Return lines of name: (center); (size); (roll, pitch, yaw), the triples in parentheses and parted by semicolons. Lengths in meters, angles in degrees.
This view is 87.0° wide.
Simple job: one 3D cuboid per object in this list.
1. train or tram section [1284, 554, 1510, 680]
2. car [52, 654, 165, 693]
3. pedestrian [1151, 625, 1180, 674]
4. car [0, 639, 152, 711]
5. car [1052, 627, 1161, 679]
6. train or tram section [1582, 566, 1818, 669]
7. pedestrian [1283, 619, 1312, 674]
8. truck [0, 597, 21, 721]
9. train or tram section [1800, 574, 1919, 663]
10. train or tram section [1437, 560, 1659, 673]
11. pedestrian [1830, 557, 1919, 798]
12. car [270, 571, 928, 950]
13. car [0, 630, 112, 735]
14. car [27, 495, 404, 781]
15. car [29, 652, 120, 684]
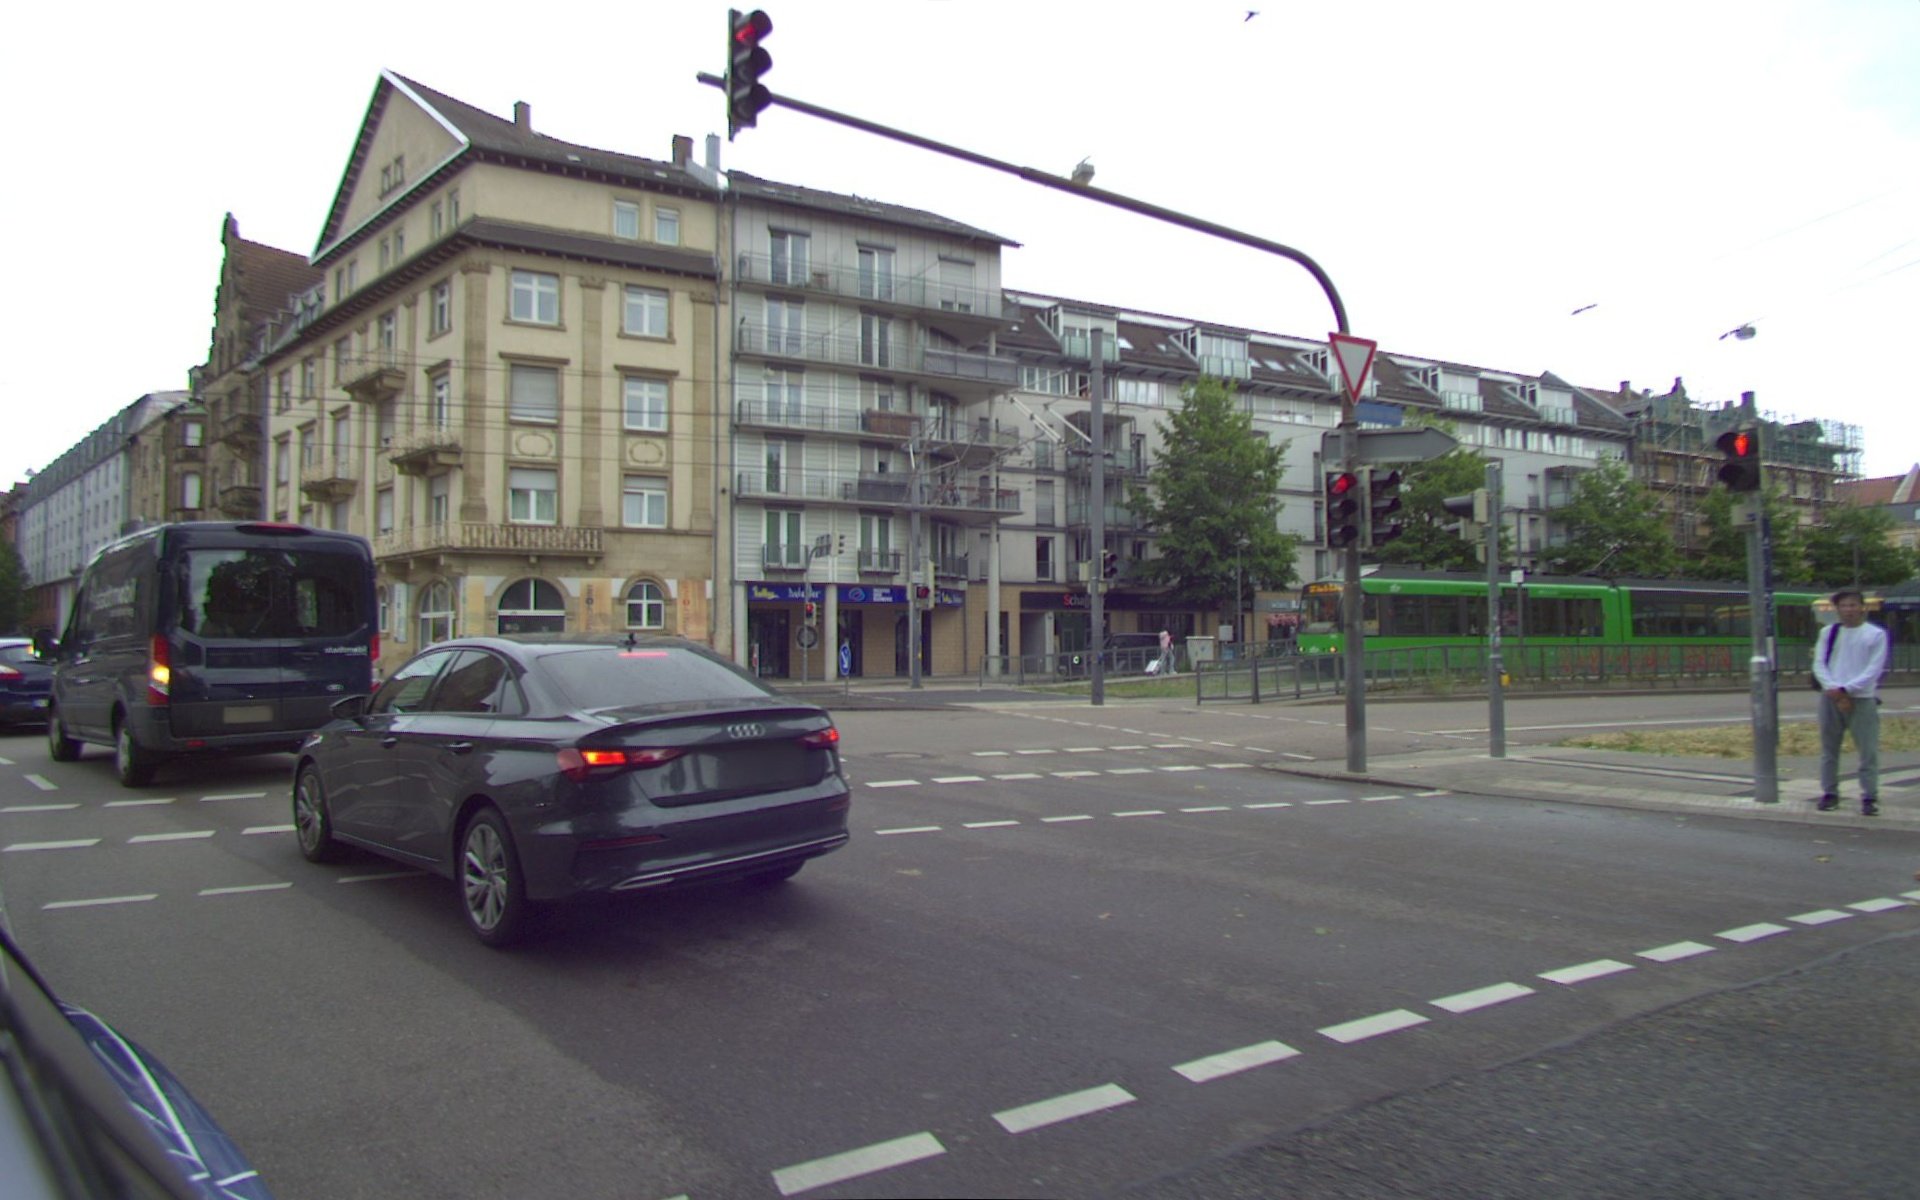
train or tram section: (14.436, 0.617, 33.341); (7.136, 3.790, 2.694); (1, -3, -26)
car: (-42.437, 3.635, 50.530); (1.825, 1.737, 3.978); (-2, -2, 16)
pedestrian: (6.834, 1.654, 33.633); (0.720, 1.615, 0.590); (1, -3, -25)
car: (-20.791, 1.730, 23.589); (3.984, 1.537, 1.720); (-3, -4, 30)
car: (5.683, 2.045, 39.310); (3.931, 1.928, 1.695); (1, -3, -29)
train or tram section: (29.923, 0.770, 40.745); (10.870, 3.790, 2.694); (1, -3, -26)
pedestrian: (11.690, 1.598, 35.061); (0.720, 1.879, 0.590); (1, -3, -25)
truck: (-21.422, 1.221, 20.624); (5.446, 2.427, 2.058); (-3, -4, 33)
train or tram section: (39.975, 0.834, 41.974); (12.788, 3.324, 2.631); (1, -3, -26)
train or tram section: (21.353, 0.657, 36.649); (8.155, 3.790, 2.694); (1, -3, -26)
pedestrian: (7.286, 0.599, 7.969); (0.692, 1.799, 0.506); (2, -4, -42)
car: (-2.369, 0.724, 5.970); (4.315, 1.438, 1.790); (-3, -4, 41)
car: (-15.044, 1.272, 15.985); (3.897, 1.500, 1.651); (-3, -4, 36)
car: (-8.522, 0.470, 11.358); (5.574, 2.470, 2.112); (-3, -4, 40)
car: (-51.374, 3.923, 58.845); (1.681, 1.566, 3.996); (-2, -1, 3)
